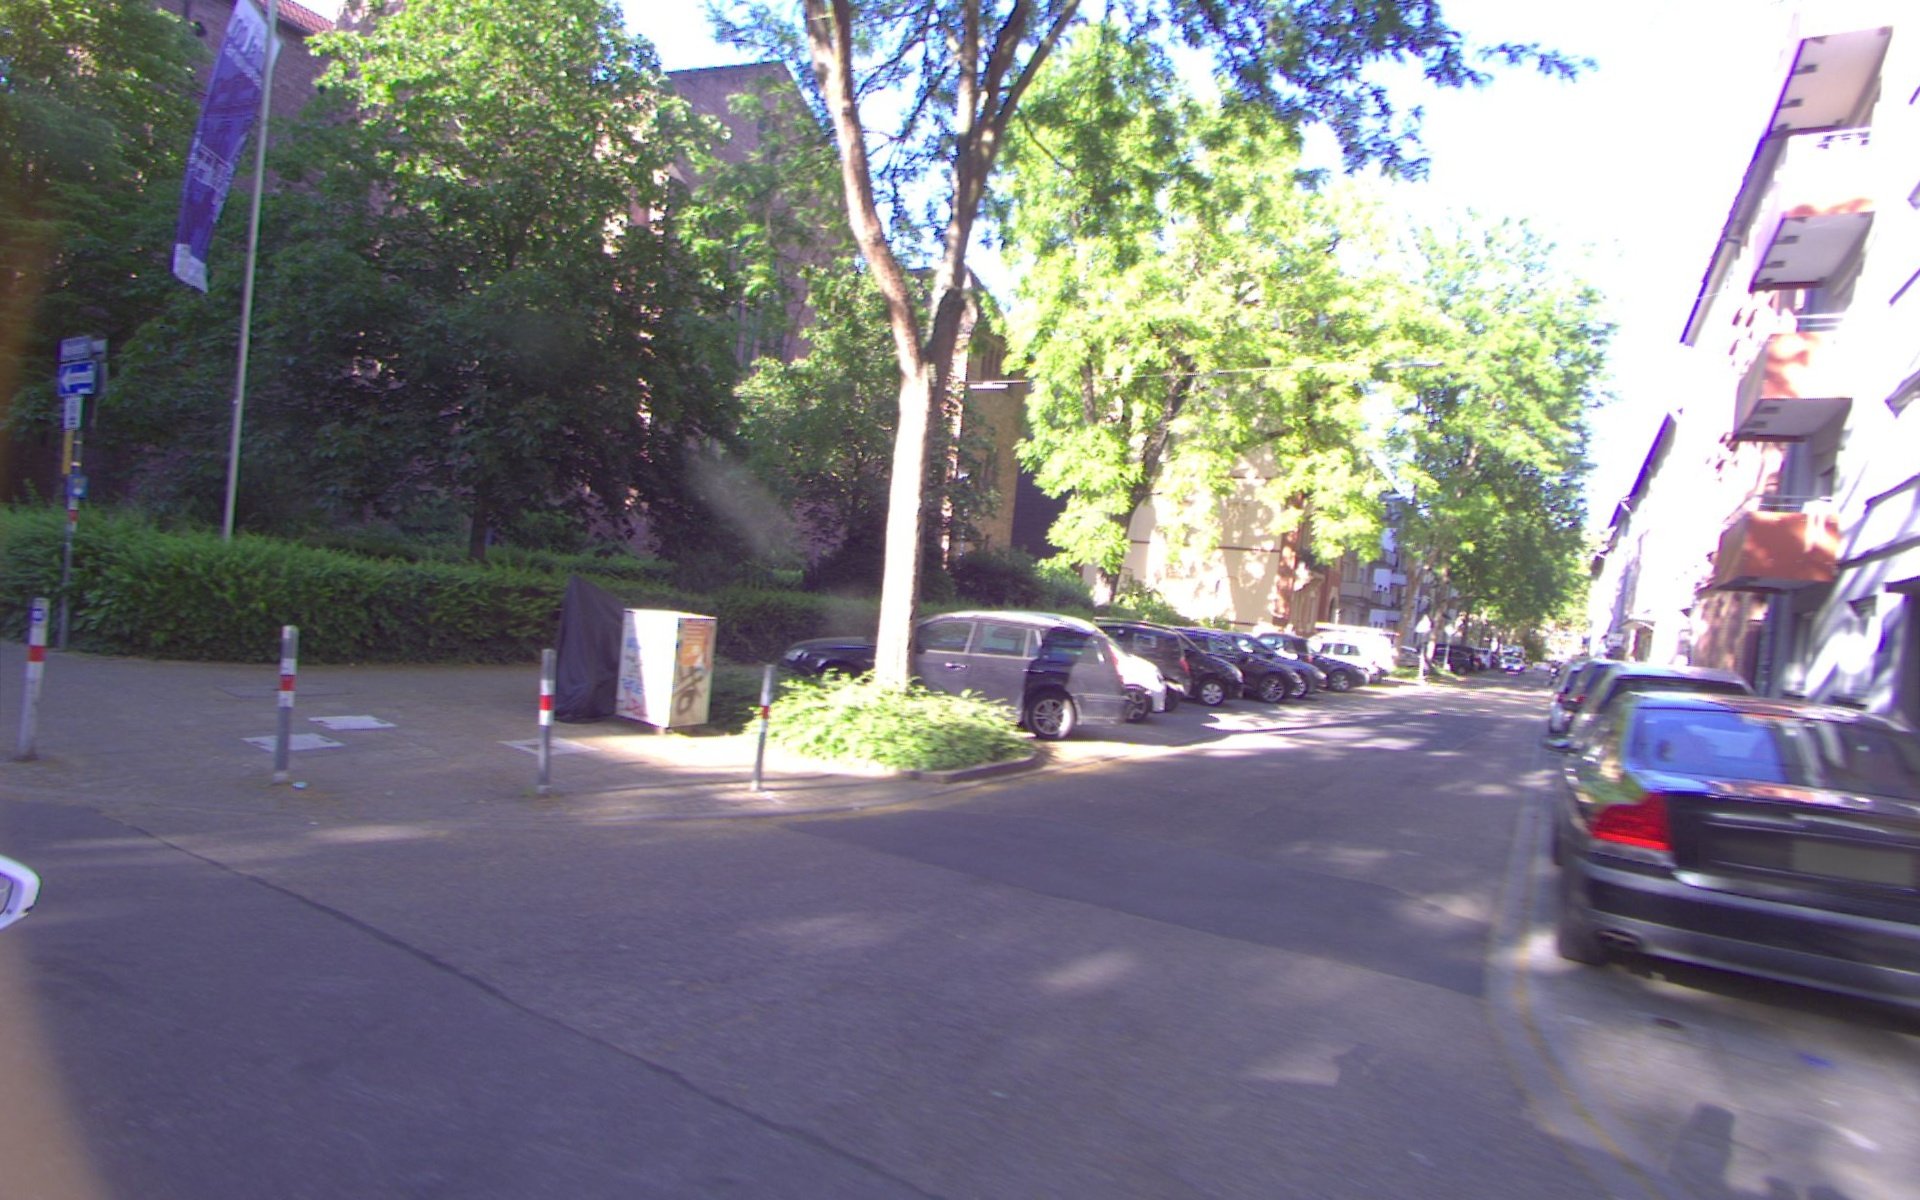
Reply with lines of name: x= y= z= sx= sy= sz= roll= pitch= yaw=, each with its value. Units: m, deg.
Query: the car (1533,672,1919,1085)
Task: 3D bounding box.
car: x=4.517 y=1.258 z=5.961 sx=1.819 sy=1.406 sz=4.353 roll=6 pitch=0 yaw=30

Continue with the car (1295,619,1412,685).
car: x=15.145 y=1.984 z=38.892 sx=3.698 sy=2.064 sz=1.775 roll=6 pitch=1 yaw=6

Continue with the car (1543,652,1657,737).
car: x=16.100 y=2.319 z=25.504 sx=1.965 sy=1.719 sz=3.993 roll=7 pitch=0 yaw=28

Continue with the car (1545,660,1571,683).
car: x=53.673 y=6.403 z=90.314 sx=1.798 sy=1.746 sz=4.038 roll=6 pitch=0 yaw=31

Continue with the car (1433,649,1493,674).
car: x=44.594 y=5.419 z=89.236 sx=4.439 sy=1.649 sz=1.995 roll=6 pitch=1 yaw=32

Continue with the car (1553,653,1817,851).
car: x=7.799 y=1.494 z=11.219 sx=1.838 sy=1.638 sz=3.992 roll=4 pitch=-1 yaw=29

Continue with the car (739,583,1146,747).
car: x=-0.231 y=0.827 z=13.592 sx=5.008 sy=1.572 sz=1.802 roll=6 pitch=0 yaw=-2

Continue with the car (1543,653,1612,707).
car: x=24.785 y=3.158 z=40.517 sx=1.966 sy=1.830 sz=4.511 roll=6 pitch=0 yaw=29

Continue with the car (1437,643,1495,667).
car: x=45.882 y=4.998 z=91.232 sx=4.439 sy=1.649 sz=1.995 roll=6 pitch=1 yaw=32

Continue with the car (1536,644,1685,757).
car: x=12.691 y=1.905 z=19.896 sx=1.965 sy=1.749 sz=3.994 roll=7 pitch=0 yaw=28

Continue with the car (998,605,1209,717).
car: x=2.766 y=1.117 z=19.299 sx=3.698 sy=1.638 sz=1.722 roll=6 pitch=1 yaw=13

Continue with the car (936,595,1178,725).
car: x=1.665 y=0.942 z=16.780 sx=3.698 sy=1.638 sz=1.722 roll=6 pitch=1 yaw=13

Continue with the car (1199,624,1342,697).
car: x=8.890 y=1.711 z=29.103 sx=3.698 sy=1.638 sz=1.722 roll=6 pitch=1 yaw=13

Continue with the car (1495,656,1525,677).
car: x=49.931 y=6.017 z=91.302 sx=1.967 sy=1.649 sz=4.501 roll=6 pitch=0 yaw=33

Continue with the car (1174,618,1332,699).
car: x=7.588 y=1.493 z=26.366 sx=3.698 sy=1.638 sz=1.722 roll=6 pitch=1 yaw=13

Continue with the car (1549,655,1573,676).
car: x=57.568 y=6.255 z=96.384 sx=1.798 sy=1.746 sz=4.038 roll=6 pitch=0 yaw=31

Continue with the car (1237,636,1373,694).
car: x=10.617 y=1.986 z=31.200 sx=3.698 sy=1.298 sz=1.586 roll=6 pitch=1 yaw=13

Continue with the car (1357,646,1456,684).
car: x=21.220 y=3.070 z=47.921 sx=3.923 sy=1.312 sz=1.795 roll=6 pitch=1 yaw=13

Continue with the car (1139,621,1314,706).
car: x=6.220 y=1.464 z=23.883 sx=3.697 sy=1.540 sz=1.722 roll=6 pitch=1 yaw=8

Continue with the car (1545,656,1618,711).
car: x=22.354 y=2.987 z=36.315 sx=1.966 sy=1.638 sz=3.991 roll=7 pitch=0 yaw=31

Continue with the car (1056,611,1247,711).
car: x=4.065 y=1.250 z=21.457 sx=3.698 sy=1.638 sz=1.722 roll=6 pitch=1 yaw=13

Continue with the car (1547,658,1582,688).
car: x=40.335 y=4.847 z=67.180 sx=1.798 sy=1.746 sz=4.038 roll=6 pitch=0 yaw=31

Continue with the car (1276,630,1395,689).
car: x=13.441 y=2.120 z=36.227 sx=3.698 sy=1.638 sz=1.586 roll=6 pitch=1 yaw=13

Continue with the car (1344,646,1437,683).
car: x=21.570 y=3.206 z=50.513 sx=3.923 sy=1.312 sz=1.795 roll=6 pitch=1 yaw=13

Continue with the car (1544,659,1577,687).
car: x=42.669 y=5.152 z=71.506 sx=1.798 sy=1.746 sz=4.038 roll=6 pitch=0 yaw=31

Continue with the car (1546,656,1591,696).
car: x=32.145 y=3.988 z=53.229 sx=1.798 sy=1.816 sz=3.991 roll=6 pitch=0 yaw=31

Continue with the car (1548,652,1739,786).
car: x=10.506 y=1.732 z=15.771 sx=1.966 sy=1.682 sz=3.993 roll=3 pitch=-2 yaw=28

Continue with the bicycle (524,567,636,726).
bicycle: x=-3.820 y=0.402 z=10.263 sx=0.765 sy=1.388 sz=2.116 roll=5 pitch=1 yaw=-16

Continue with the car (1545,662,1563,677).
car: x=76.478 y=8.934 z=129.608 sx=1.798 sy=1.746 sz=4.038 roll=6 pitch=0 yaw=31
